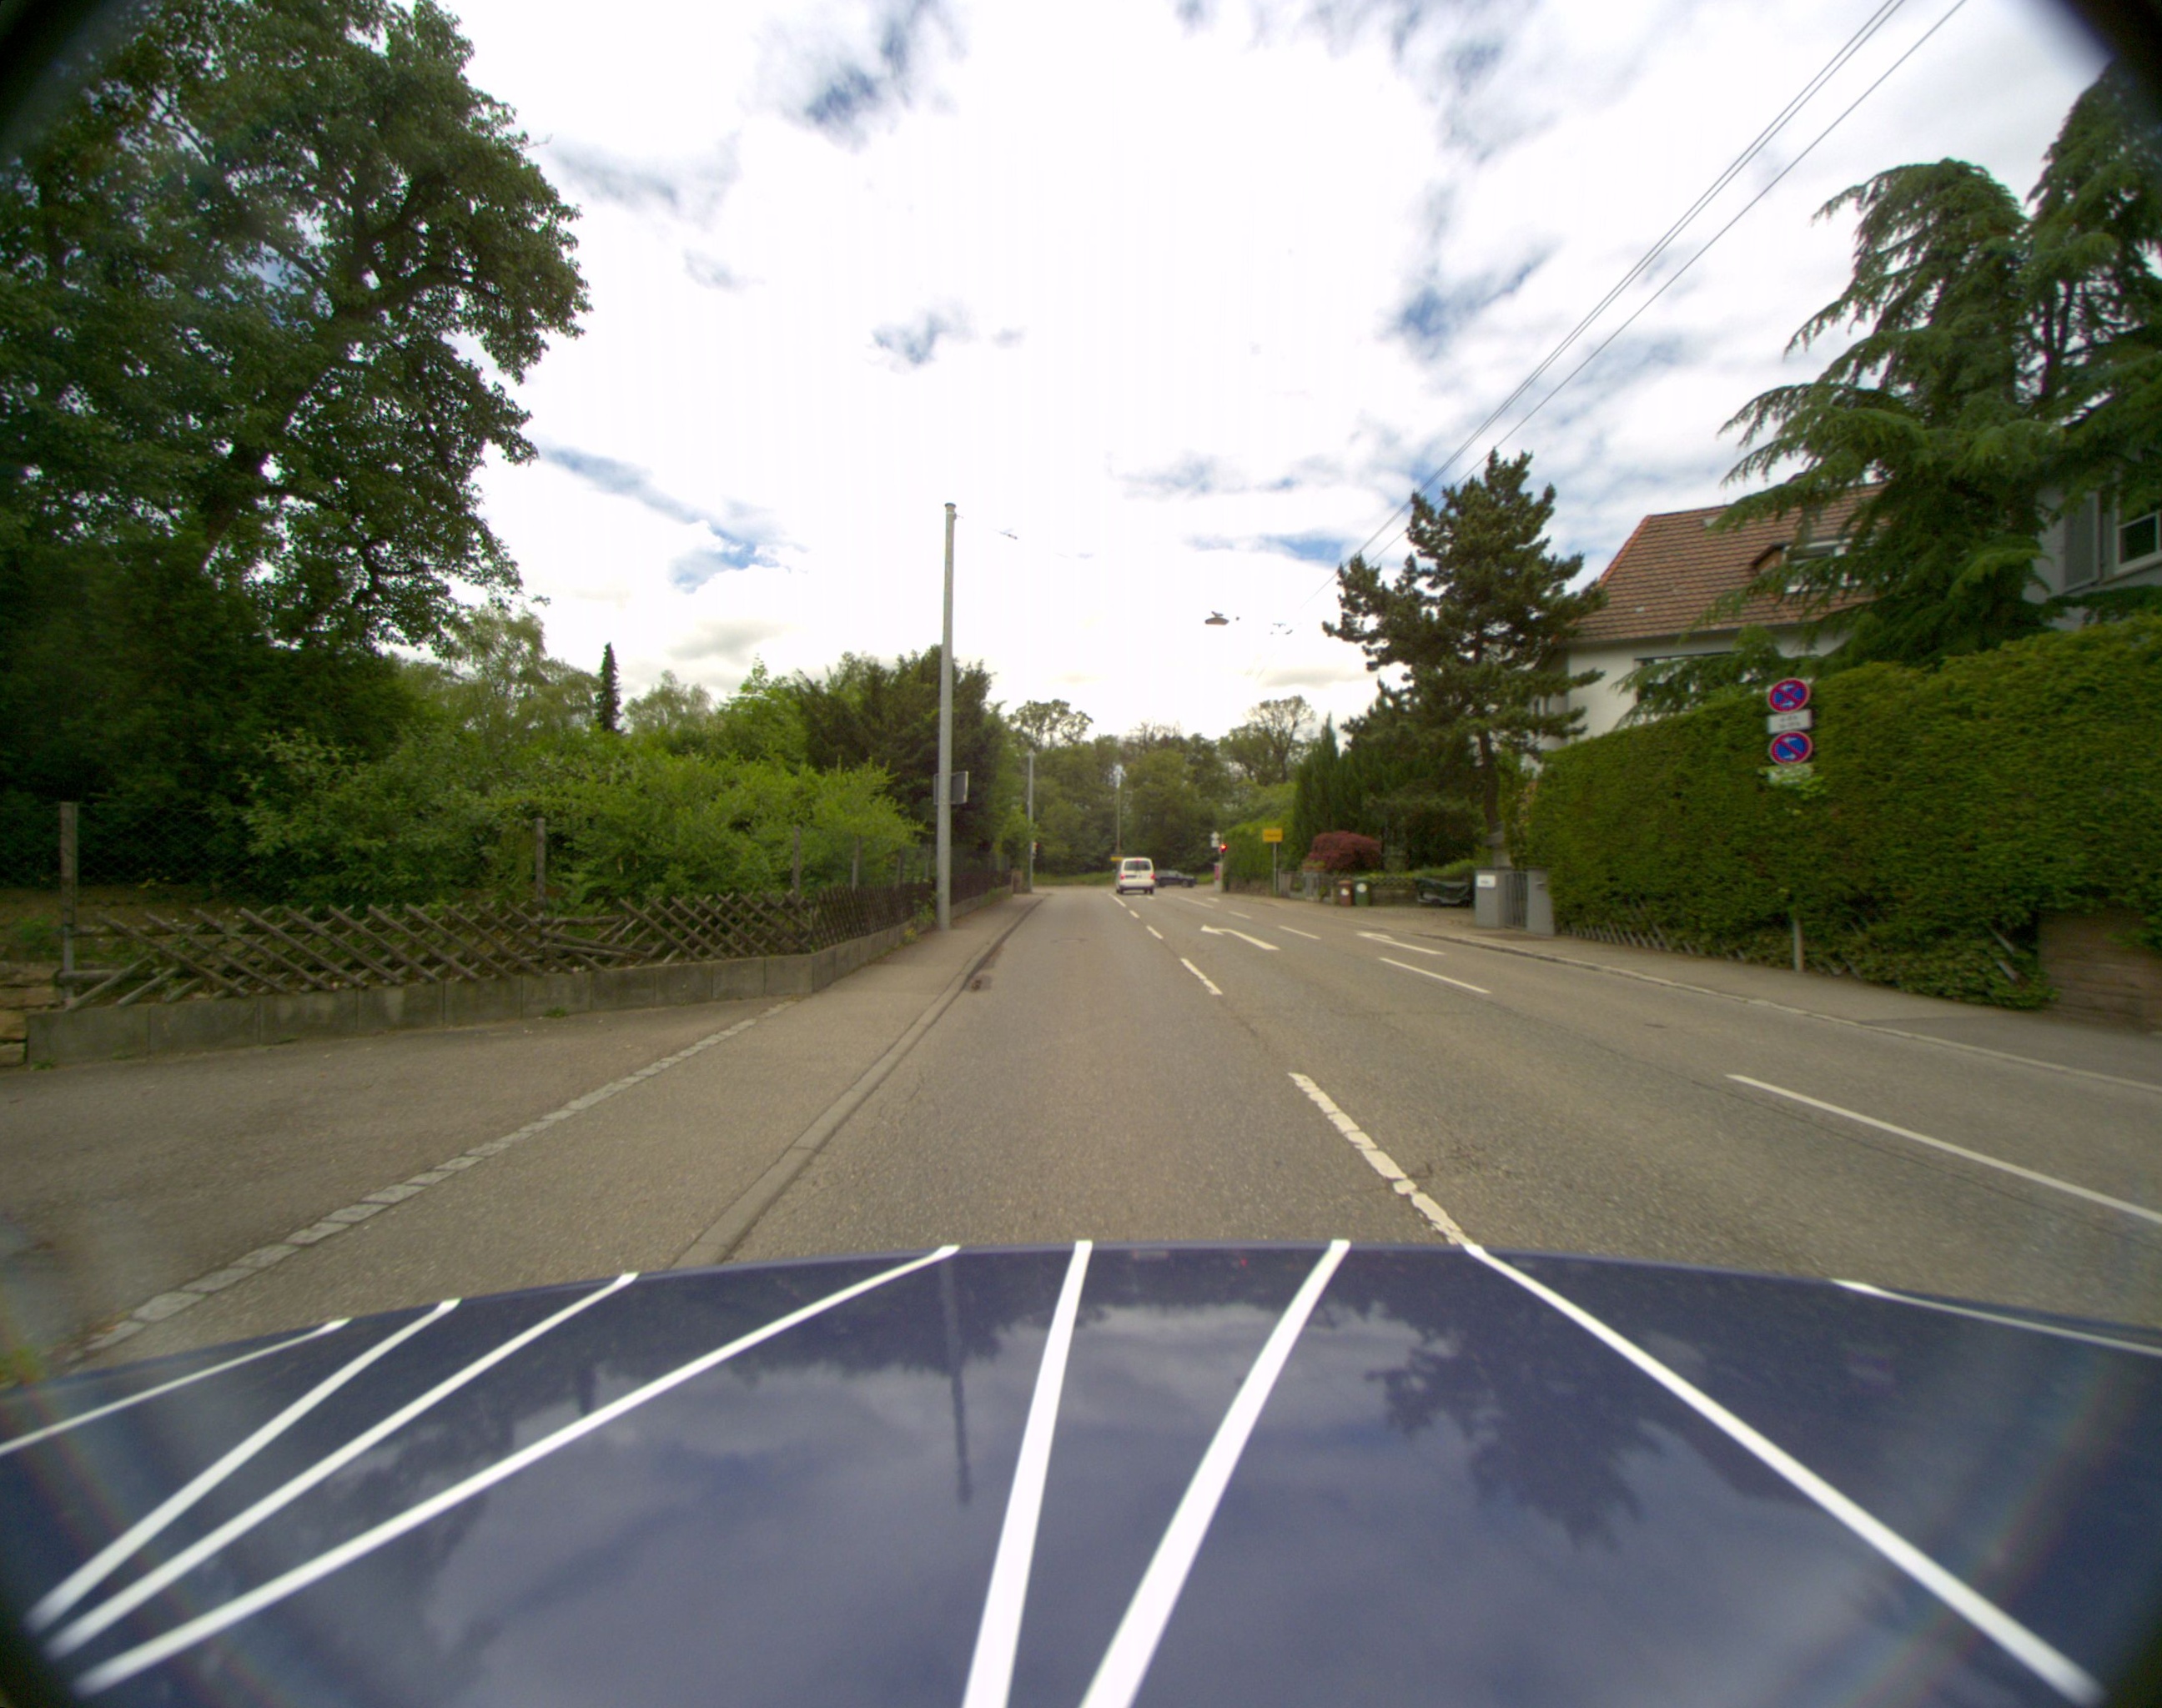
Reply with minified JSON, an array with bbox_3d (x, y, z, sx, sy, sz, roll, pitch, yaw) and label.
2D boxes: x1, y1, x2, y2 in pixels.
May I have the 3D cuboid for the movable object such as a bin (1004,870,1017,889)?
[{"bbox_3d":[-3.853,1.408,41.530,0.541,1.039,0.508,2,-2,-27],"label":"movable object such as a bin"}]

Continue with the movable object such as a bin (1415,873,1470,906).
[{"bbox_3d":[12.256,1.189,25.769,1.593,1.074,0.718,-1,0,32],"label":"movable object such as a bin"}]

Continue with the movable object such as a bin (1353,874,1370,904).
[{"bbox_3d":[10.066,1.258,27.247,0.479,1.028,0.717,-1,0,29],"label":"movable object such as a bin"}]

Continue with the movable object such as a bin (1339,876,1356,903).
[{"bbox_3d":[9.639,1.291,27.508,0.464,0.936,0.648,-1,0,29],"label":"movable object such as a bin"}]

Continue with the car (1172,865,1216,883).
[{"bbox_3d":[9.741,1.723,65.496,3.661,1.585,1.665,0,-1,6],"label":"car"}]

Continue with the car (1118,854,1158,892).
[{"bbox_3d":[3.146,1.053,42.915,1.863,2.035,5.172,0,-1,0],"label":"car"}]
